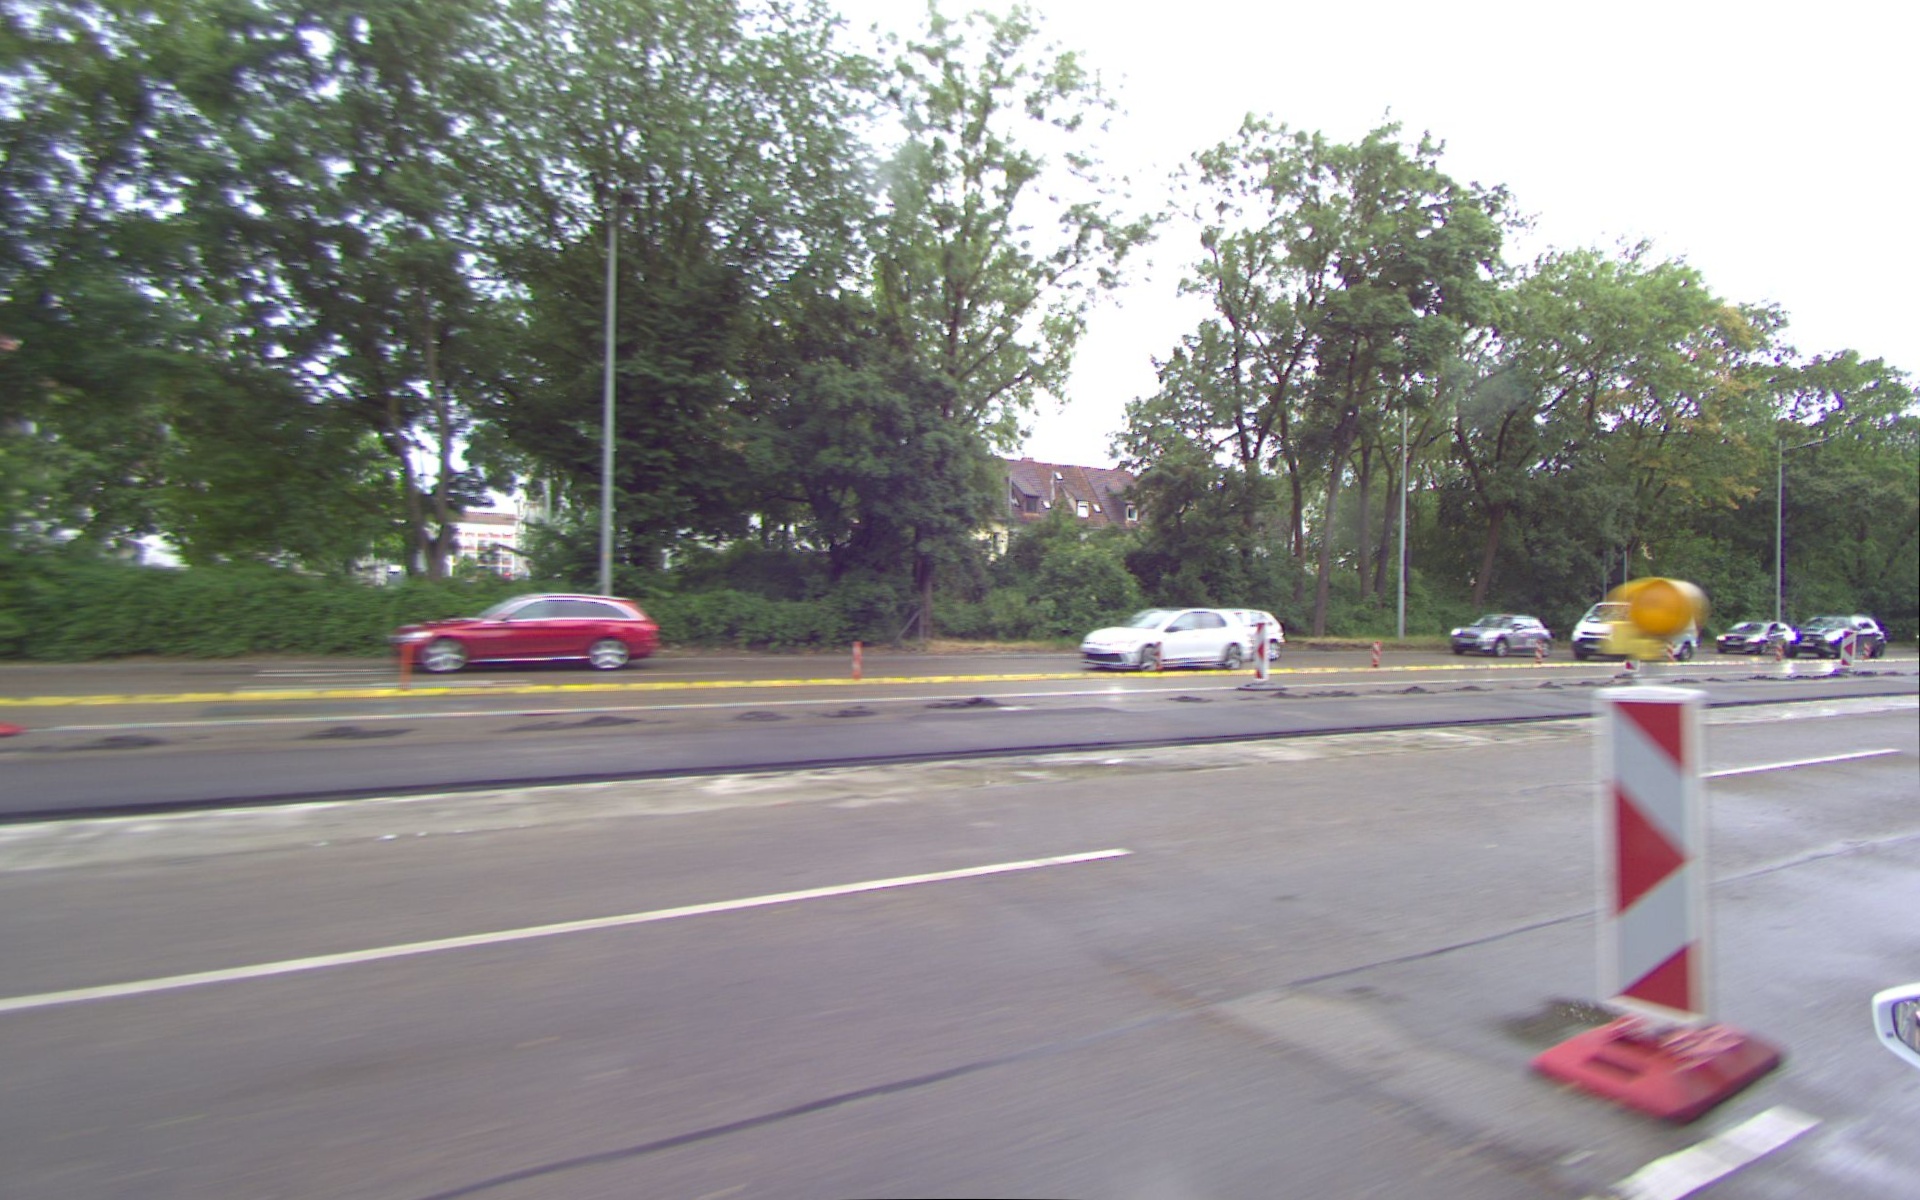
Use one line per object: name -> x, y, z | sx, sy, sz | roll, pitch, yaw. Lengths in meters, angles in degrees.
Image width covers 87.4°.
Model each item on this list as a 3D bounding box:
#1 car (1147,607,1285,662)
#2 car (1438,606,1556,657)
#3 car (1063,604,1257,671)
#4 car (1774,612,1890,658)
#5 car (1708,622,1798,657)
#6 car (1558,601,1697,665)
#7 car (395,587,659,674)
car -> 7.176, 0.947, 28.104 | 3.595, 1.419, 1.672 | 1, 0, -29
car -> 18.653, 1.090, 34.873 | 3.953, 1.643, 1.818 | 1, 0, -30
car -> 4.751, 0.876, 23.719 | 4.343, 1.434, 1.983 | 2, -1, -31
car -> 35.521, 1.404, 40.893 | 4.951, 1.748, 2.012 | 1, 0, -29
car -> 34.451, 1.708, 43.635 | 3.951, 1.439, 1.638 | 1, 0, -29
car -> 22.410, 1.080, 33.678 | 4.846, 1.998, 1.984 | 1, 0, -31
car -> -8.212, 0.576, 19.196 | 4.437, 1.495, 1.719 | 1, -1, -32
